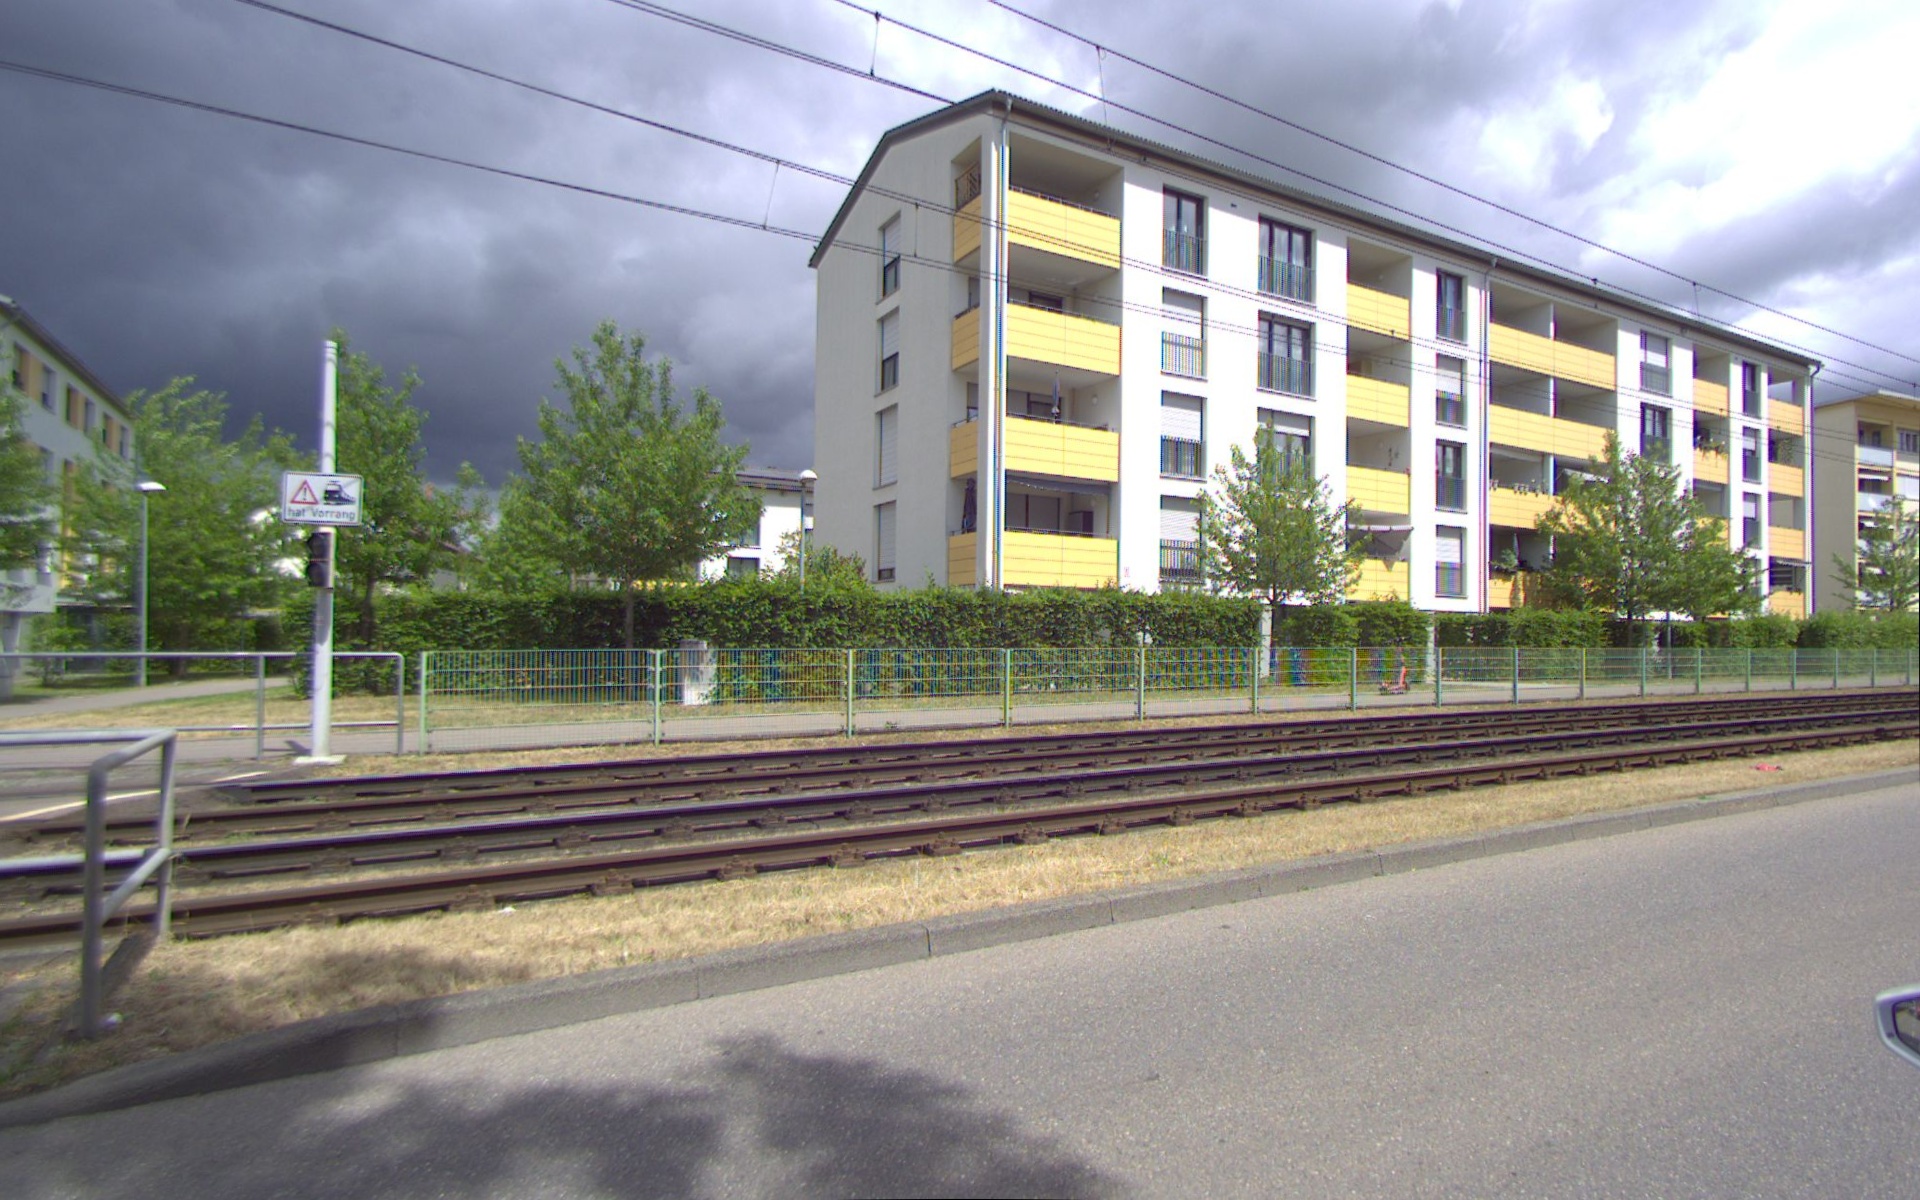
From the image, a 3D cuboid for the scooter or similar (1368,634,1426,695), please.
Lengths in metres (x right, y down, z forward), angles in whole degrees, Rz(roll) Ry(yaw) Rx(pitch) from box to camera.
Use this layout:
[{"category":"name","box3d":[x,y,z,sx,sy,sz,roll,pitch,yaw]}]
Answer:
[{"category":"scooter or similar","box3d":[9.677,1.407,22.239,1.286,1.310,0.488,1,-1,-29]}]
